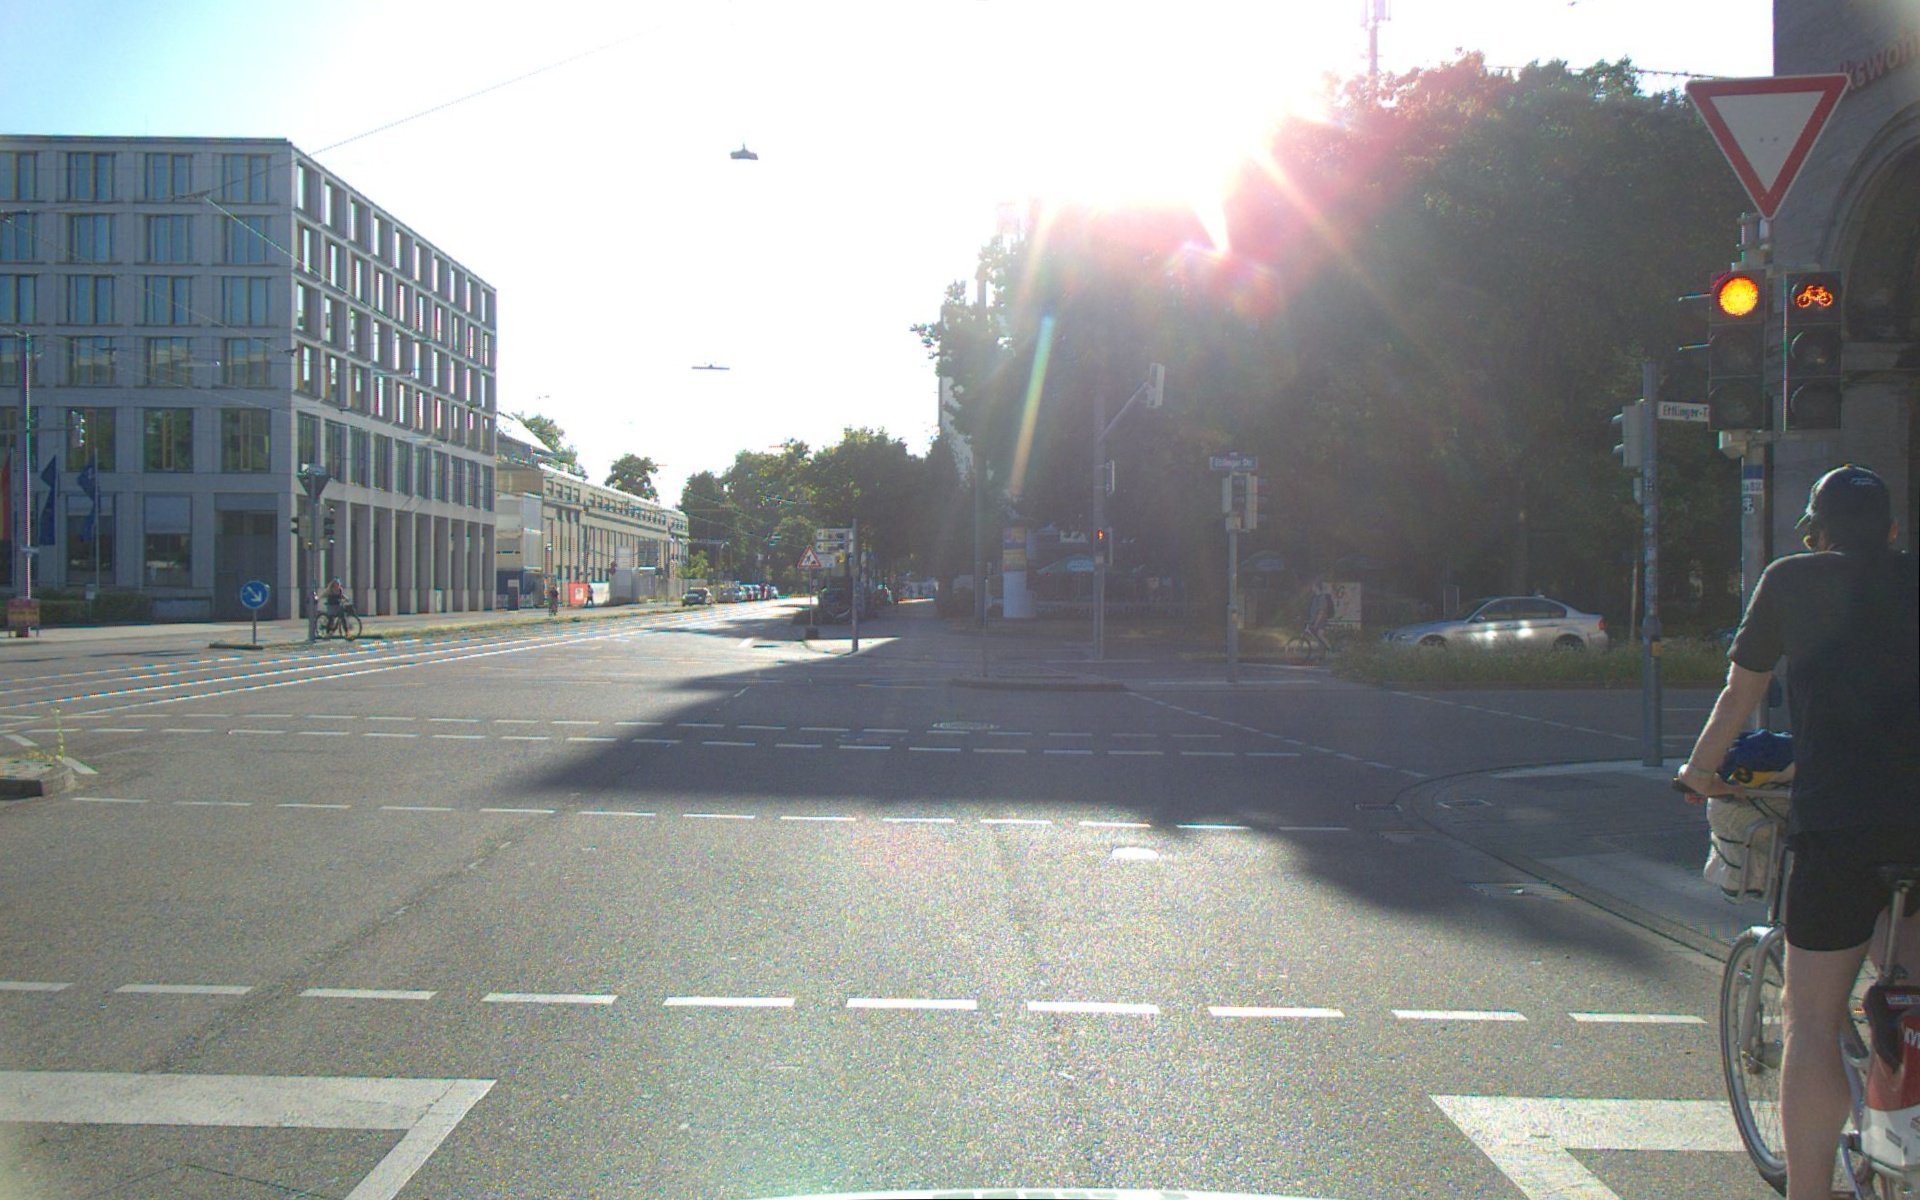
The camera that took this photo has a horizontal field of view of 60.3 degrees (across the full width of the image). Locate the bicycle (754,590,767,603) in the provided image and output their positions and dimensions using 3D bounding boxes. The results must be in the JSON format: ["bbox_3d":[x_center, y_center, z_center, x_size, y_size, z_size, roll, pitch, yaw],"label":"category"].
[{"bbox_3d":[-19.930,-0.360,165.253,0.735,1.226,3.109,1,0,5],"label":"bicycle"}]

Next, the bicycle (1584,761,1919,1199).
[{"bbox_3d":[2.139,1.003,3.915,0.610,1.062,1.746,0,0,-2],"label":"bicycle"}]

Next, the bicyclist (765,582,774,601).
[{"bbox_3d":[-19.660,-0.872,170.608,0.735,1.953,1.214,1,0,-2],"label":"bicyclist"}]

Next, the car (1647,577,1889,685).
[{"bbox_3d":[16.227,0.617,33.383,3.905,2.049,2.000,1,0,0],"label":"car"}]

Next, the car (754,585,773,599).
[{"bbox_3d":[-23.077,-0.917,194.354,1.954,1.673,3.997,0,0,-4],"label":"car"}]

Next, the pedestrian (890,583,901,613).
[{"bbox_3d":[-3.798,-0.111,97.504,0.566,1.719,0.584,0,0,-8],"label":"pedestrian"}]

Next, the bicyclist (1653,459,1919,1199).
[{"bbox_3d":[2.142,0.576,3.903,0.610,1.745,0.912,0,0,-2],"label":"bicyclist"}]

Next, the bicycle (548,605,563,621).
[{"bbox_3d":[-21.696,0.692,88.827,0.484,0.854,1.156,0,0,2],"label":"bicycle"}]

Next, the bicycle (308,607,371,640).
[{"bbox_3d":[-16.322,0.608,43.503,1.679,0.837,0.573,0,0,27],"label":"bicycle"}]

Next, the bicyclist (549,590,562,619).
[{"bbox_3d":[-21.703,0.233,88.806,0.484,1.525,0.666,0,0,2],"label":"bicyclist"}]

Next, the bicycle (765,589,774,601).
[{"bbox_3d":[-19.658,-0.490,170.725,0.735,1.226,3.107,1,0,-2],"label":"bicycle"}]

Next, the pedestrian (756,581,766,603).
[{"bbox_3d":[-19.914,-0.796,165.321,0.735,2.099,1.050,1,-1,5],"label":"pedestrian"}]

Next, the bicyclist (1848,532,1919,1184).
[{"bbox_3d":[2.885,0.699,4.355,0.572,1.769,0.950,0,0,0],"label":"bicyclist"}]

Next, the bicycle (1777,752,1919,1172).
[{"bbox_3d":[2.885,1.019,4.391,0.570,1.062,1.747,0,0,0],"label":"bicycle"}]

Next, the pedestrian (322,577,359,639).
[{"bbox_3d":[-16.289,0.211,43.482,0.727,1.623,0.573,0,0,26],"label":"pedestrian"}]

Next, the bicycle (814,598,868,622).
[{"bbox_3d":[-4.831,0.392,67.144,2.201,0.956,0.653,0,0,-6],"label":"bicycle"}]

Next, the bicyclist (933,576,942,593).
[{"bbox_3d":[-2.735,-1.871,200.470,0.875,2.049,0.746,1,-1,-12],"label":"bicyclist"}]

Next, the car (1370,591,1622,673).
[{"bbox_3d":[10.849,0.636,33.728,4.483,1.543,2.000,1,0,-1],"label":"car"}]

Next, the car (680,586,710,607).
[{"bbox_3d":[-21.687,-0.283,135.424,1.954,1.627,3.997,0,1,-3],"label":"car"}]

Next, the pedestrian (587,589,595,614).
[{"bbox_3d":[-28.293,0.105,126.708,0.470,1.922,0.585,1,-1,-25],"label":"pedestrian"}]

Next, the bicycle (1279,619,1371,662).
[{"bbox_3d":[8.033,0.886,36.488,1.902,0.905,0.718,1,0,5],"label":"bicycle"}]

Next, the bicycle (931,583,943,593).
[{"bbox_3d":[-2.768,-1.468,200.587,0.875,1.240,2.785,1,0,-12],"label":"bicycle"}]

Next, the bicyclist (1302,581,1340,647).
[{"bbox_3d":[7.954,0.311,36.495,0.731,1.431,0.702,1,-1,6],"label":"bicyclist"}]
